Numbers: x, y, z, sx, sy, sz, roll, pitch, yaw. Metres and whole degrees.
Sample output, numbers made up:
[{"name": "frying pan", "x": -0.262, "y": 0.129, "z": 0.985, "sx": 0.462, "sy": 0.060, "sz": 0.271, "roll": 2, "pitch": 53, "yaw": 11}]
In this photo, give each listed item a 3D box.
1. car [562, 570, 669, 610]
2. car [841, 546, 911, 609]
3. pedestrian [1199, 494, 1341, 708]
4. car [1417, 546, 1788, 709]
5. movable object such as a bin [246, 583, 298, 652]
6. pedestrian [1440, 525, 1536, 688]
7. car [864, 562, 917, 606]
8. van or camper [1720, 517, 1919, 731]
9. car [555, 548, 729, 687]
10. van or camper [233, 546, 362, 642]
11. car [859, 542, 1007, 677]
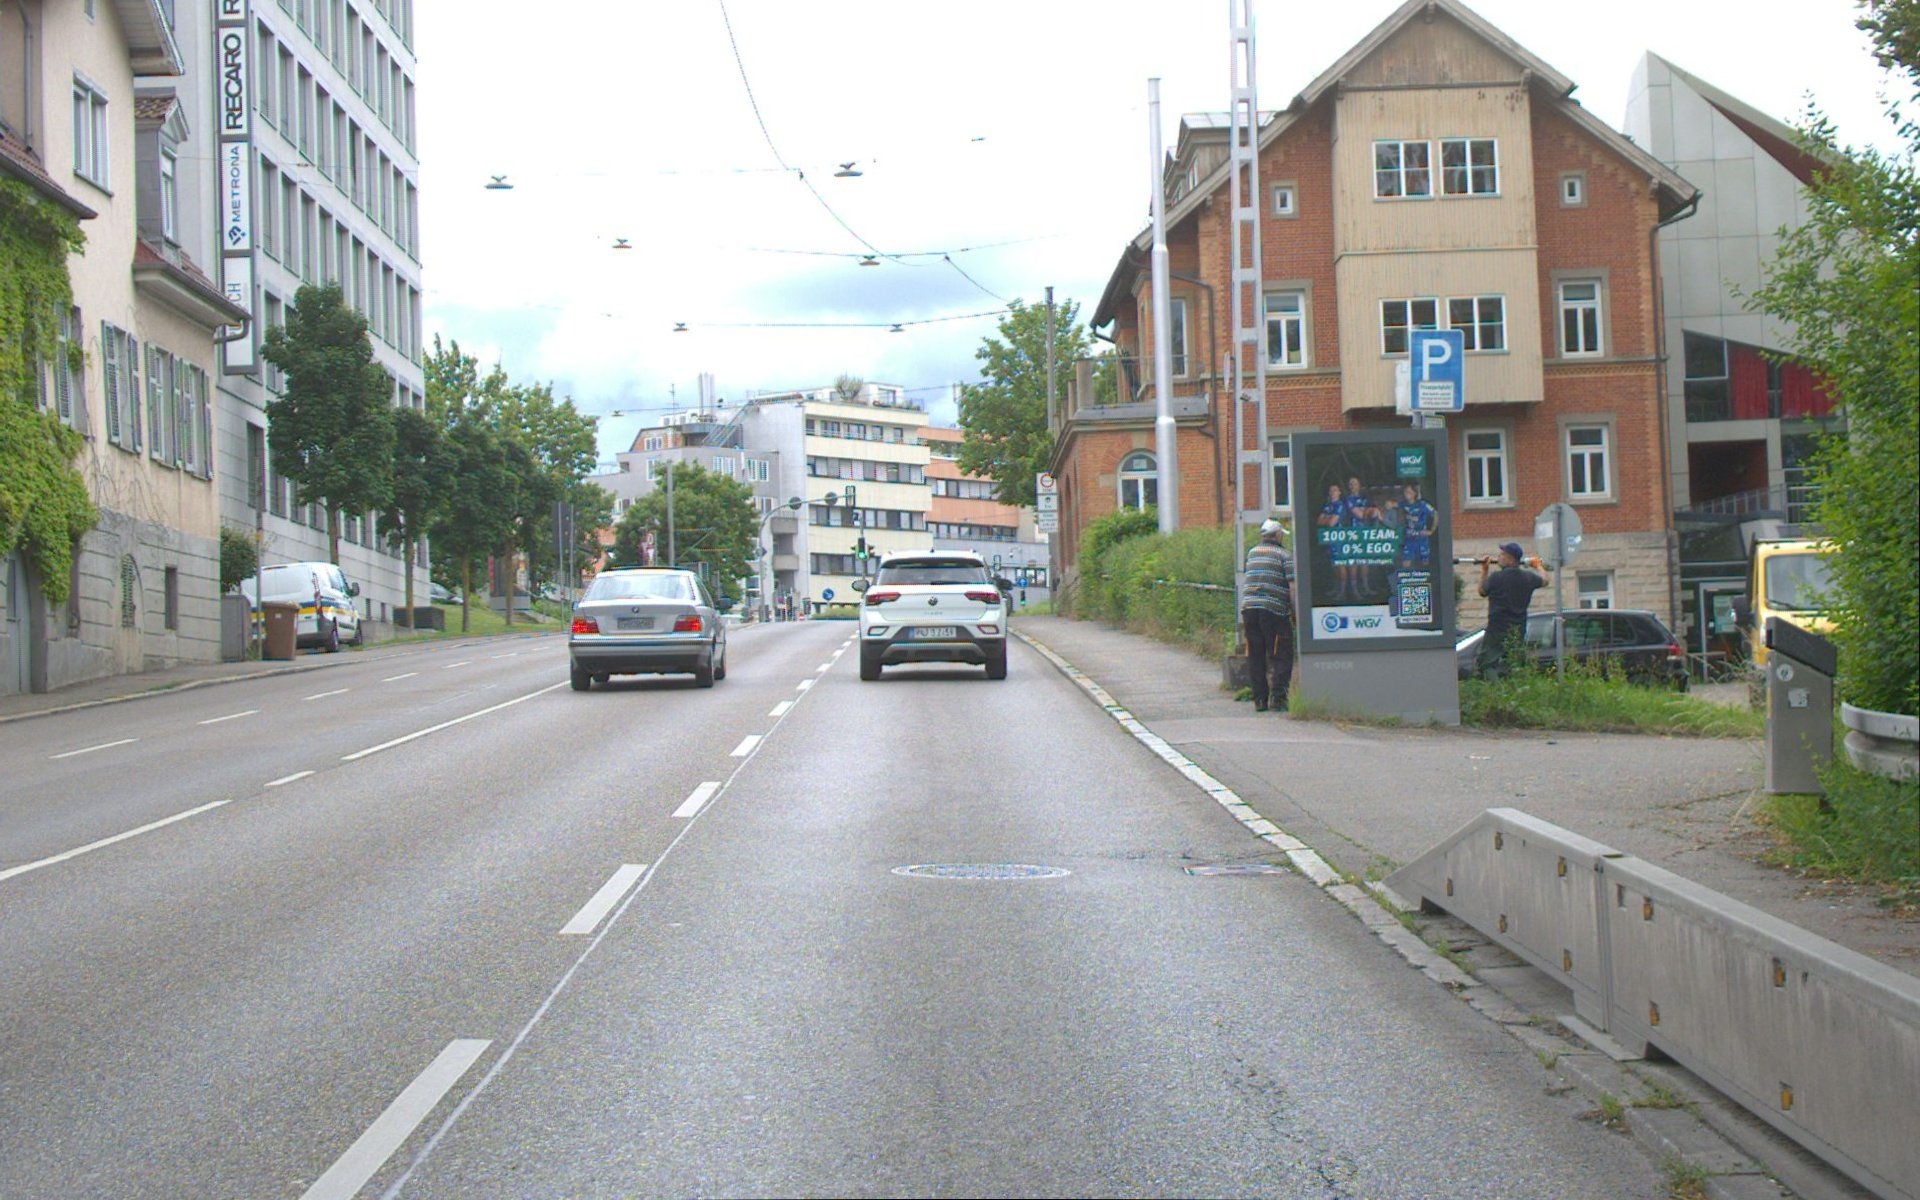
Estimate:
[{"name": "car", "x": -13.614, "y": -0.387, "z": 135.837, "sx": 1.780, "sy": 1.539, "sz": 3.990, "roll": -1, "pitch": -1, "yaw": 44}, {"name": "car", "x": -2.298, "y": -0.632, "z": 94.640, "sx": 1.830, "sy": 1.645, "sz": 4.000, "roll": -2, "pitch": 1, "yaw": -1}, {"name": "pedestrian", "x": 2.816, "y": 0.008, "z": 31.256, "sx": 0.812, "sy": 1.878, "sz": 0.948, "roll": -3, "pitch": 1, "yaw": -30}, {"name": "car", "x": 6.549, "y": 0.261, "z": 35.278, "sx": 3.487, "sy": 1.536, "sz": 1.577, "roll": 2, "pitch": 1, "yaw": 1}, {"name": "movable object such as a bin", "x": -12.278, "y": 0.306, "z": 61.390, "sx": 0.810, "sy": 1.185, "sz": 0.699, "roll": 2, "pitch": 0, "yaw": -6}, {"name": "pedestrian", "x": 5.190, "y": 0.064, "z": 33.795, "sx": 0.584, "sy": 1.566, "sz": 0.647, "roll": -3, "pitch": 1, "yaw": -34}, {"name": "car", "x": -2.458, "y": -0.587, "z": 122.541, "sx": 1.830, "sy": 1.459, "sz": 4.000, "roll": -2, "pitch": 1, "yaw": -1}, {"name": "van or camper", "x": 10.553, "y": 0.199, "z": 41.755, "sx": 2.217, "sy": 2.322, "sz": 6.177, "roll": -2, "pitch": 1, "yaw": 10}, {"name": "car", "x": -3.687, "y": 0.173, "z": 40.343, "sx": 1.700, "sy": 1.511, "sz": 3.736, "roll": -1, "pitch": 1, "yaw": -1}, {"name": "van or camper", "x": -14.340, "y": -0.158, "z": 74.707, "sx": 2.060, "sy": 1.961, "sz": 4.873, "roll": -2, "pitch": 1, "yaw": -3}, {"name": "car", "x": -0.332, "y": 0.079, "z": 42.261, "sx": 1.700, "sy": 1.543, "sz": 3.736, "roll": 2, "pitch": 1, "yaw": -1}]
